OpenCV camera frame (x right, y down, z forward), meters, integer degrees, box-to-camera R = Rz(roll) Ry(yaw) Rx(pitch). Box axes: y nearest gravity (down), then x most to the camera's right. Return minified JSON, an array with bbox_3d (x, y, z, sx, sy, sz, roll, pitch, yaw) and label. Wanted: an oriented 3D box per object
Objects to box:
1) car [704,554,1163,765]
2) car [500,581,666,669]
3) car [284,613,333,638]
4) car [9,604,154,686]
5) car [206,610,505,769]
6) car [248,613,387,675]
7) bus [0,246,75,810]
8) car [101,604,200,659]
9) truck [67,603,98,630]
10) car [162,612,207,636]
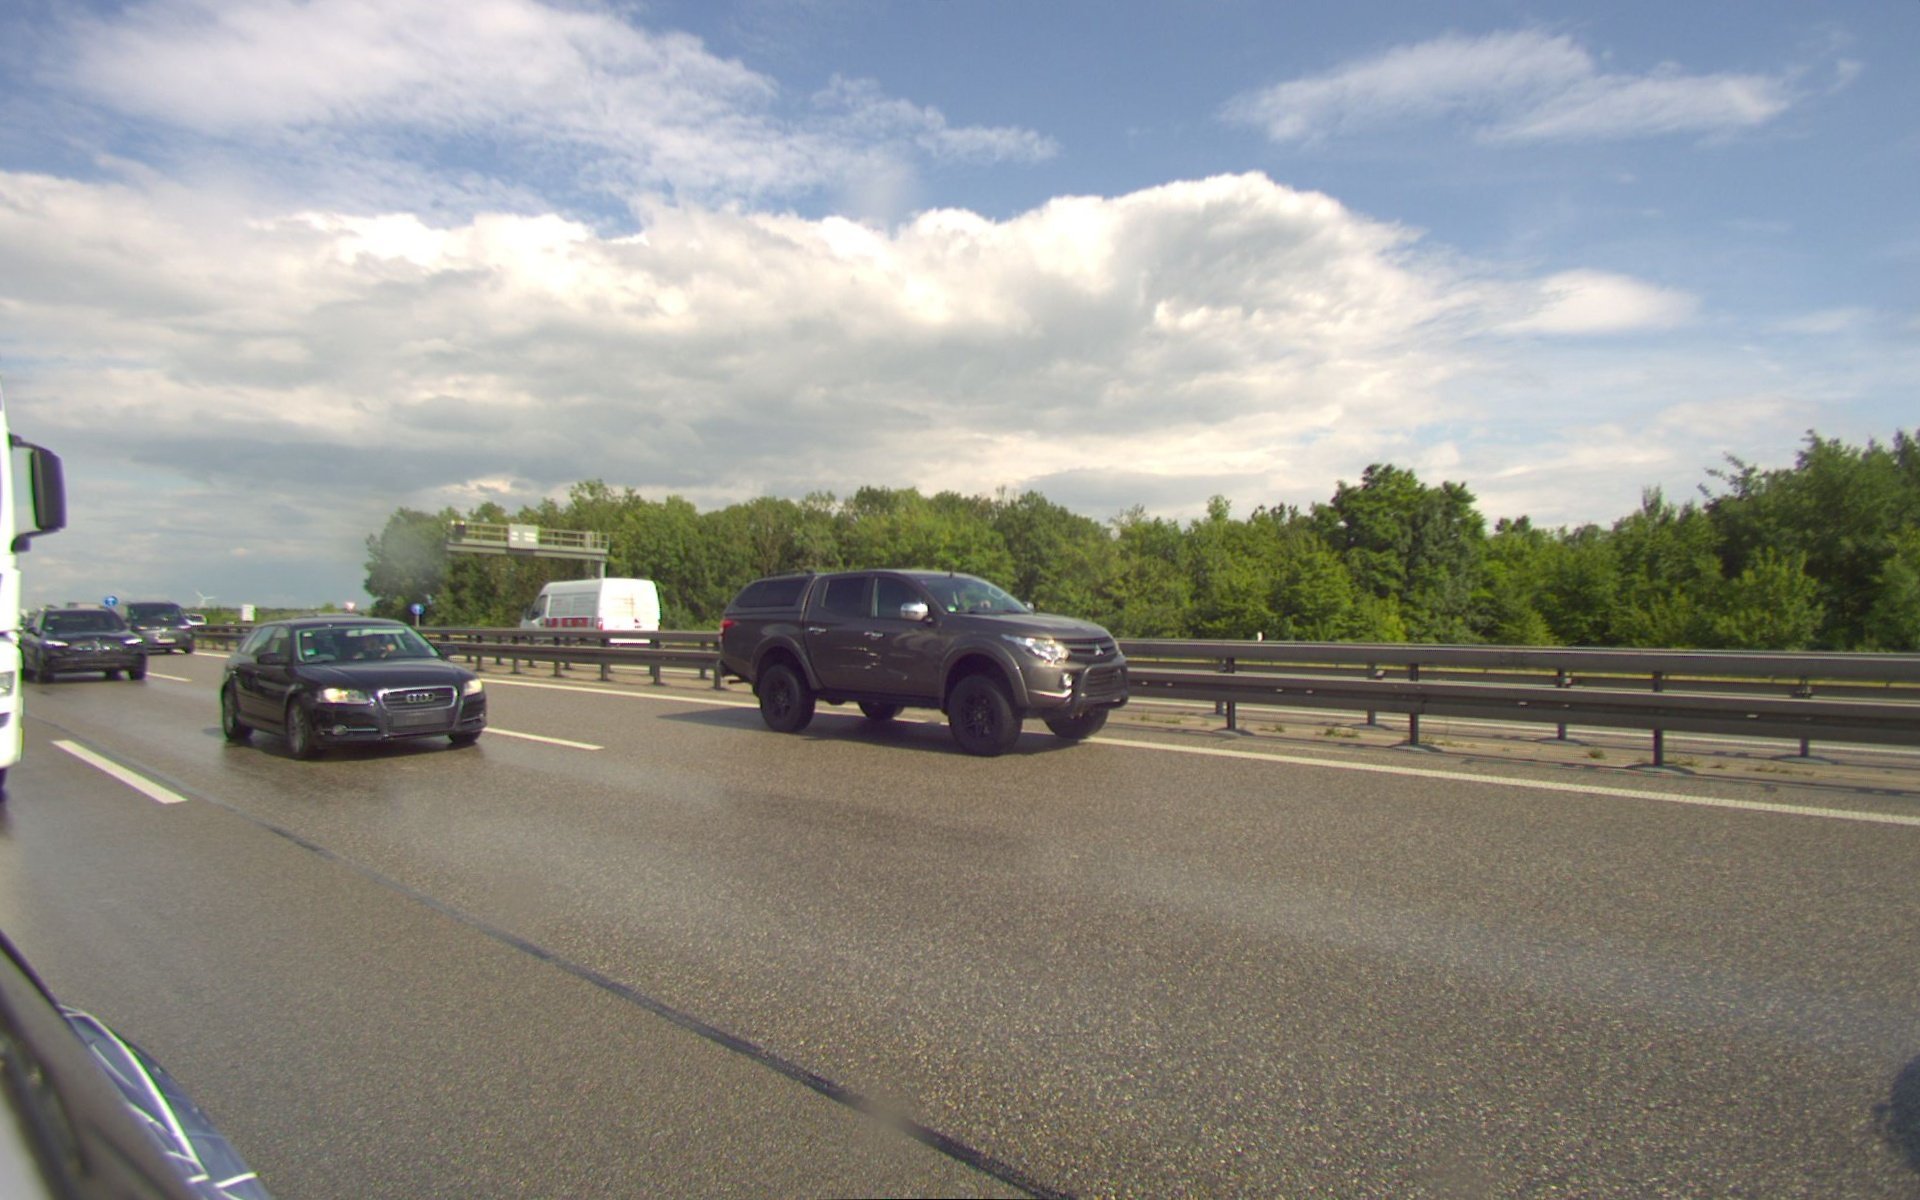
[{"bbox_3d":[-0.561,0.561,11.388,5.416,1.858,1.787,-1,-1,42],"label":"car"},{"bbox_3d":[-11.558,0.725,30.740,6.100,2.414,2.091,-1,-1,41],"label":"car"},{"bbox_3d":[-40.138,1.552,62.289,3.635,1.444,1.731,-1,-1,44],"label":"car"},{"bbox_3d":[-20.235,0.979,23.240,4.623,1.692,1.857,-1,-1,40],"label":"car"},{"bbox_3d":[-6.854,0.857,11.310,4.052,1.444,1.732,-1,-1,42],"label":"car"},{"bbox_3d":[-16.483,1.073,25.871,4.371,1.435,1.900,-1,-1,42],"label":"car"},{"bbox_3d":[-11.422,-0.451,9.933,9.841,4.159,2.867,-1,0,41],"label":"bus"},{"bbox_3d":[-30.299,1.141,37.813,5.233,1.932,1.973,-1,-1,41],"label":"car"},{"bbox_3d":[-133.718,2.533,154.202,8.920,3.913,2.762,-1,-1,44],"label":"truck"},{"bbox_3d":[-50.734,1.541,66.227,3.702,1.497,1.659,-1,-1,41],"label":"car"}]
